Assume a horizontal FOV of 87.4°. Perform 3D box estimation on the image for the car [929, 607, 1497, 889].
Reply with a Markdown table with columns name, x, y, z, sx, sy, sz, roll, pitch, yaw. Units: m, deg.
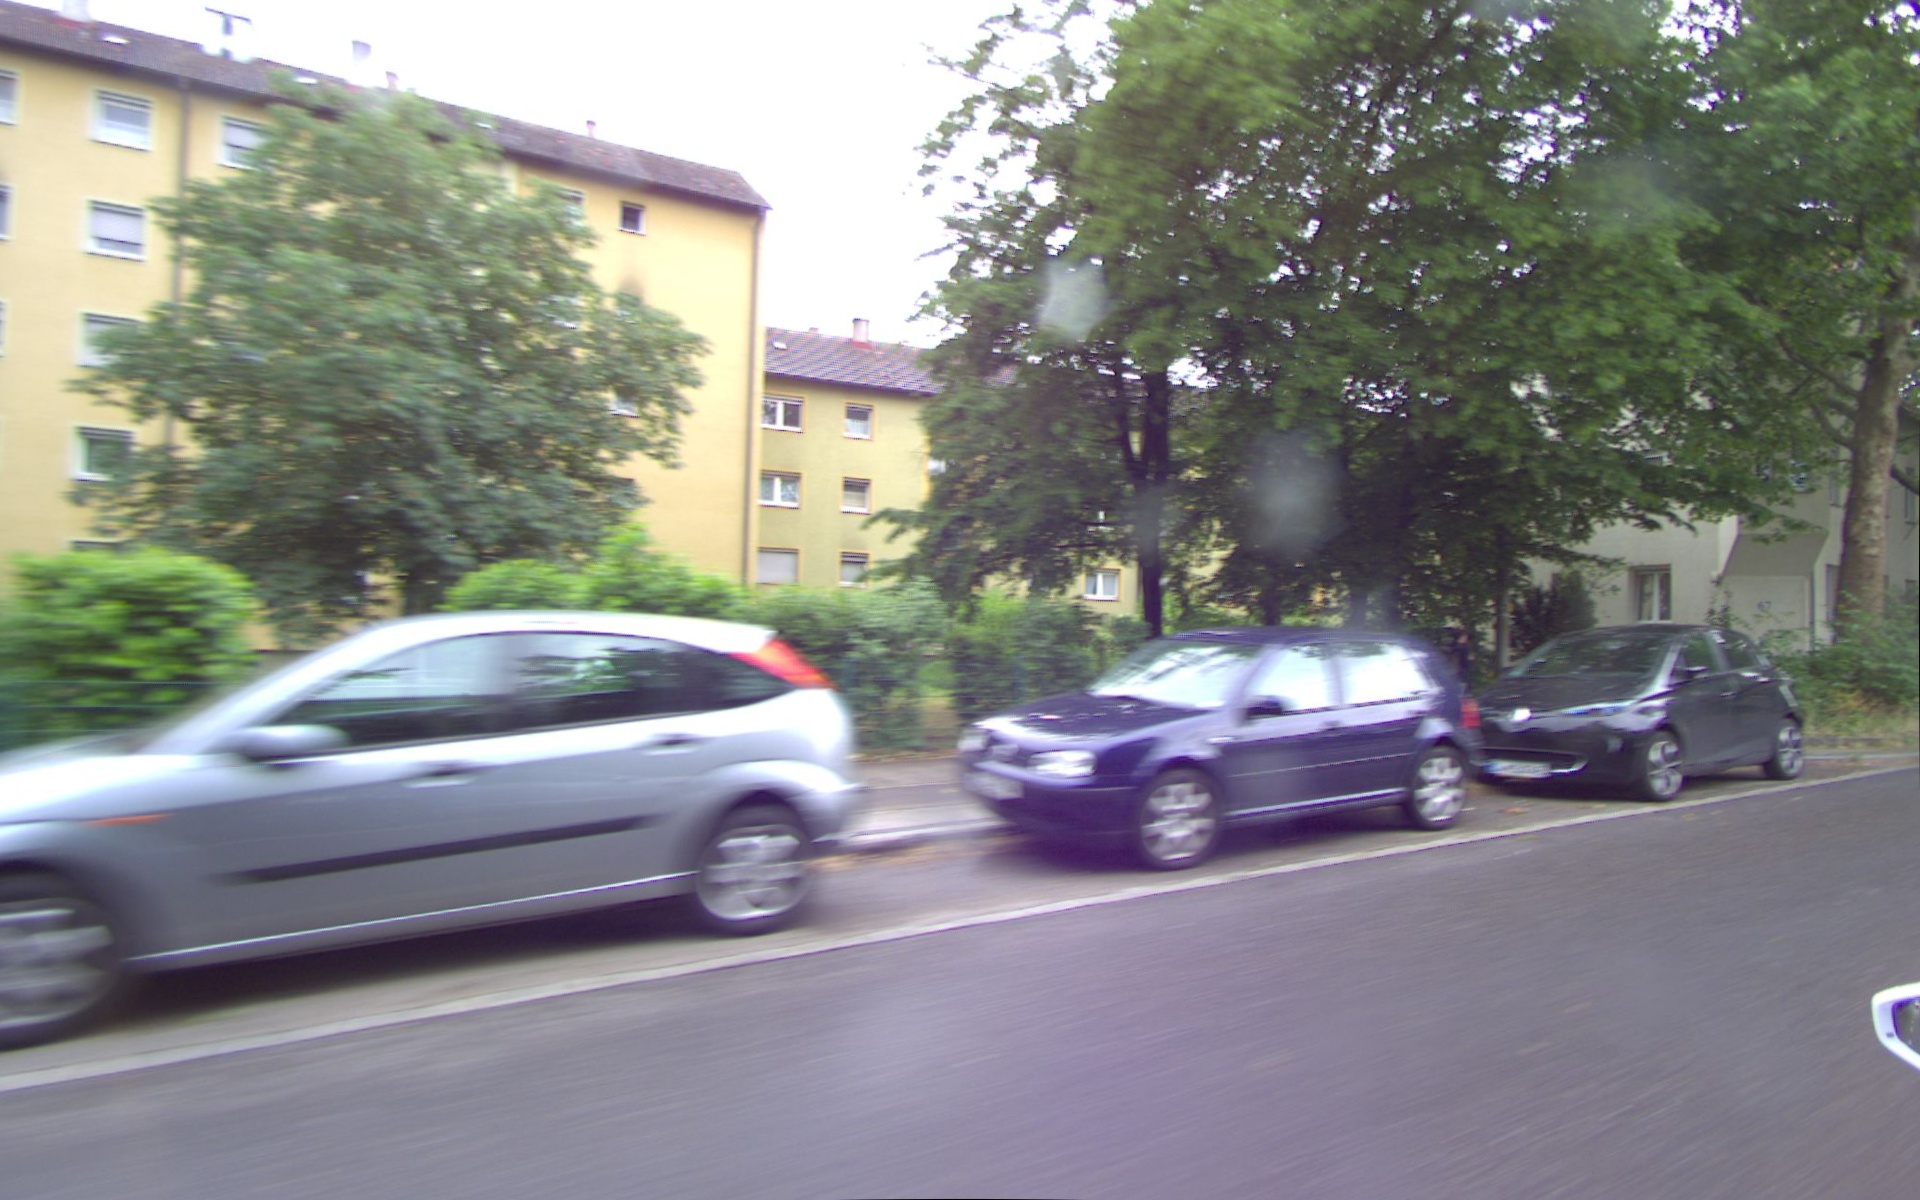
| name | x | y | z | sx | sy | sz | roll | pitch | yaw |
| --- | --- | --- | --- | --- | --- | --- | --- | --- | --- |
| car | 1.857 | 0.925 | 7.181 | 3.828 | 1.527 | 1.665 | 2 | -6 | -30 |

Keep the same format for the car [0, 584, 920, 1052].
| name | x | y | z | sx | sy | sz | roll | pitch | yaw |
| --- | --- | --- | --- | --- | --- | --- | --- | --- | --- |
| car | -2.379 | 0.742 | 4.645 | 4.073 | 1.528 | 1.665 | 2 | -1 | -29 |

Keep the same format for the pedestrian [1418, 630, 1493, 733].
| name | x | y | z | sx | sy | sz | roll | pitch | yaw |
| --- | --- | --- | --- | --- | --- | --- | --- | --- | --- |
| pedestrian | 8.273 | 1.361 | 16.778 | 1.009 | 1.641 | 0.584 | 4 | -1 | -29 |

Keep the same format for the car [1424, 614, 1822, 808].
| name | x | y | z | sx | sy | sz | roll | pitch | yaw |
| --- | --- | --- | --- | --- | --- | --- | --- | --- | --- |
| car | 6.541 | 1.009 | 9.828 | 3.972 | 1.557 | 1.640 | 2 | -5 | -31 |
